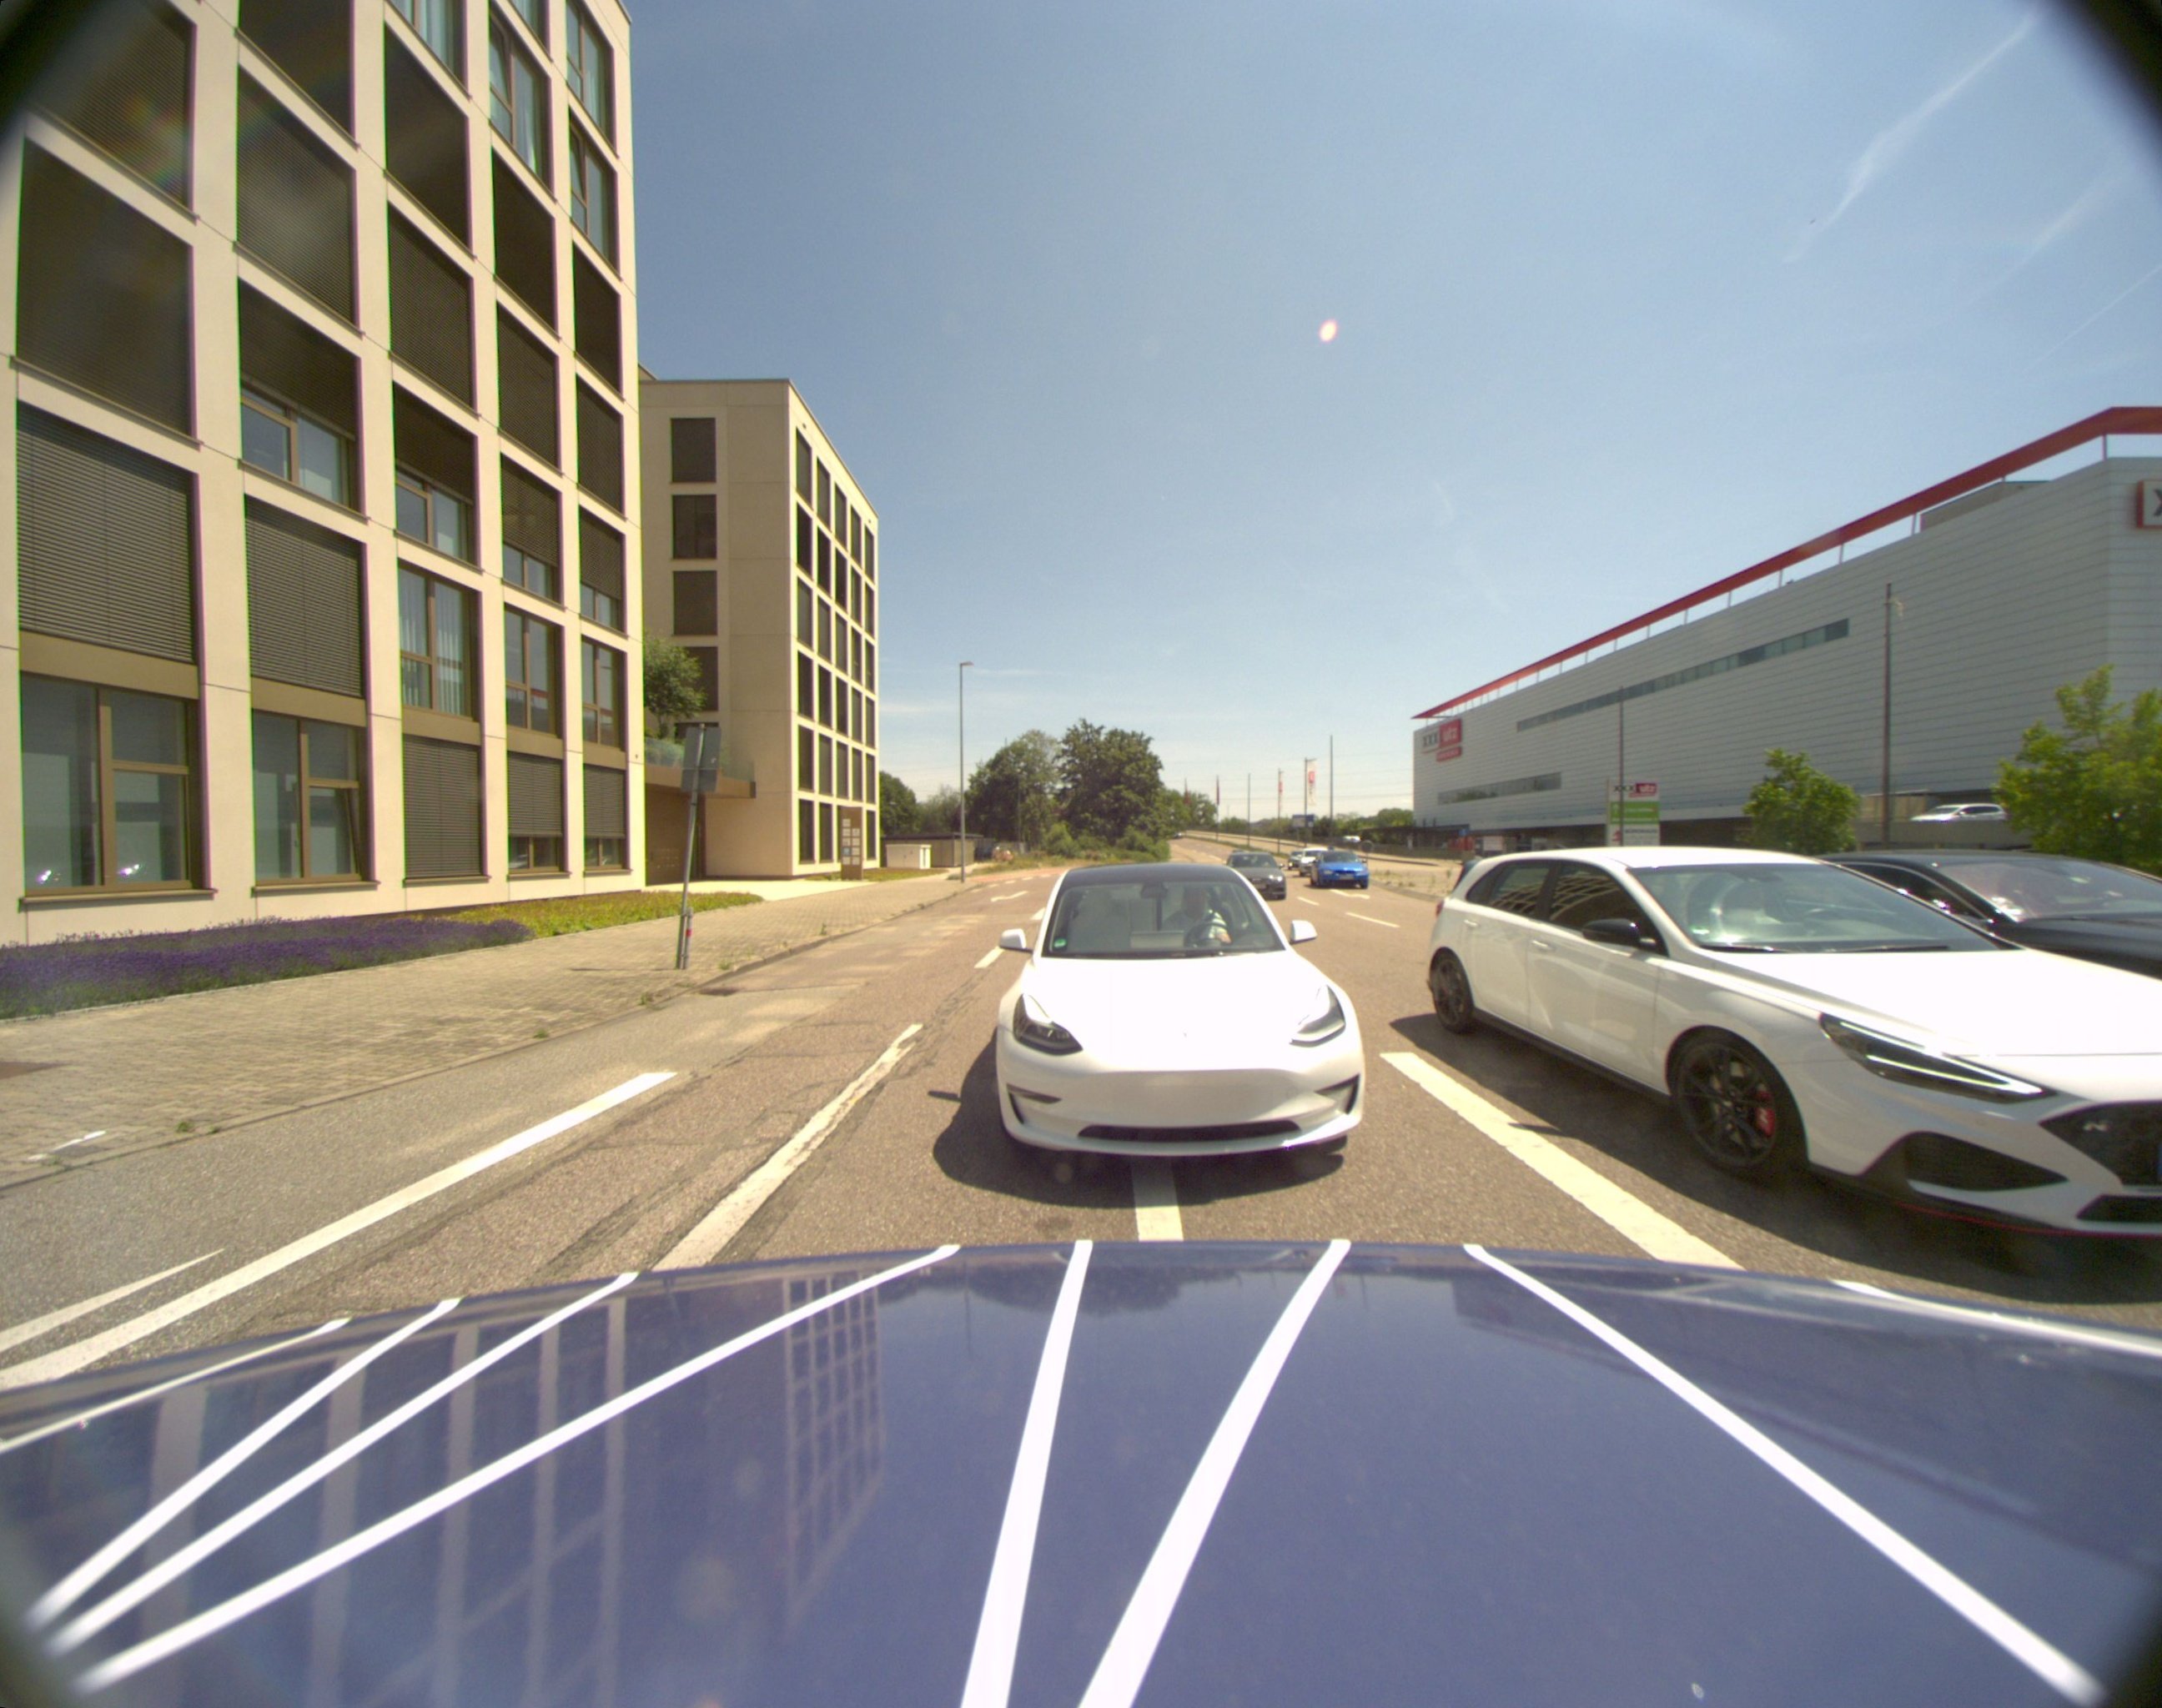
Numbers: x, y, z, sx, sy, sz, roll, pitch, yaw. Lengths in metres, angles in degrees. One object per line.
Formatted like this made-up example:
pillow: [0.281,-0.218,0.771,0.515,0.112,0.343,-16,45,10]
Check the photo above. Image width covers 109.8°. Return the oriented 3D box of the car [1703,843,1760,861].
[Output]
car: [61.180,-0.204,71.496,3.746,1.611,1.912,0,1,1]

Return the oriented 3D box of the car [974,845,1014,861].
car: [-9.415,-0.166,82.074,4.005,1.652,1.834,0,1,-23]

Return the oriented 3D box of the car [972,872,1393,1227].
car: [0.417,0.937,5.650,1.880,1.417,4.405,-2,0,-1]

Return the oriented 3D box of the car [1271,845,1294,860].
car: [21.943,-0.186,82.924,1.837,1.652,4.001,0,1,6]

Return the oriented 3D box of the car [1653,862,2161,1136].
car: [6.661,0.785,5.513,1.752,1.382,4.534,-1,0,3]

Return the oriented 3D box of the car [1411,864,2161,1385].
car: [3.647,0.825,4.337,1.735,1.441,4.230,-1,0,1]

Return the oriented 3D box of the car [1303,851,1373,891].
car: [9.789,0.585,29.223,1.800,1.405,4.409,0,1,9]

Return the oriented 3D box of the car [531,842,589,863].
car: [-46.273,-0.183,67.549,1.997,1.841,4.003,0,1,10]

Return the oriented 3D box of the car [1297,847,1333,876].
car: [13.417,0.384,43.754,1.677,1.566,4.060,-1,1,13]

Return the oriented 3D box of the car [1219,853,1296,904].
car: [5.307,0.678,23.344,1.801,1.369,4.407,0,1,6]

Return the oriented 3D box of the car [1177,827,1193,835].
car: [19.497,-4.241,142.258,1.999,1.347,4.363,-2,4,-6]

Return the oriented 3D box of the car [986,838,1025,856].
car: [-8.585,-0.774,86.101,4.005,1.942,1.996,0,1,-24]
